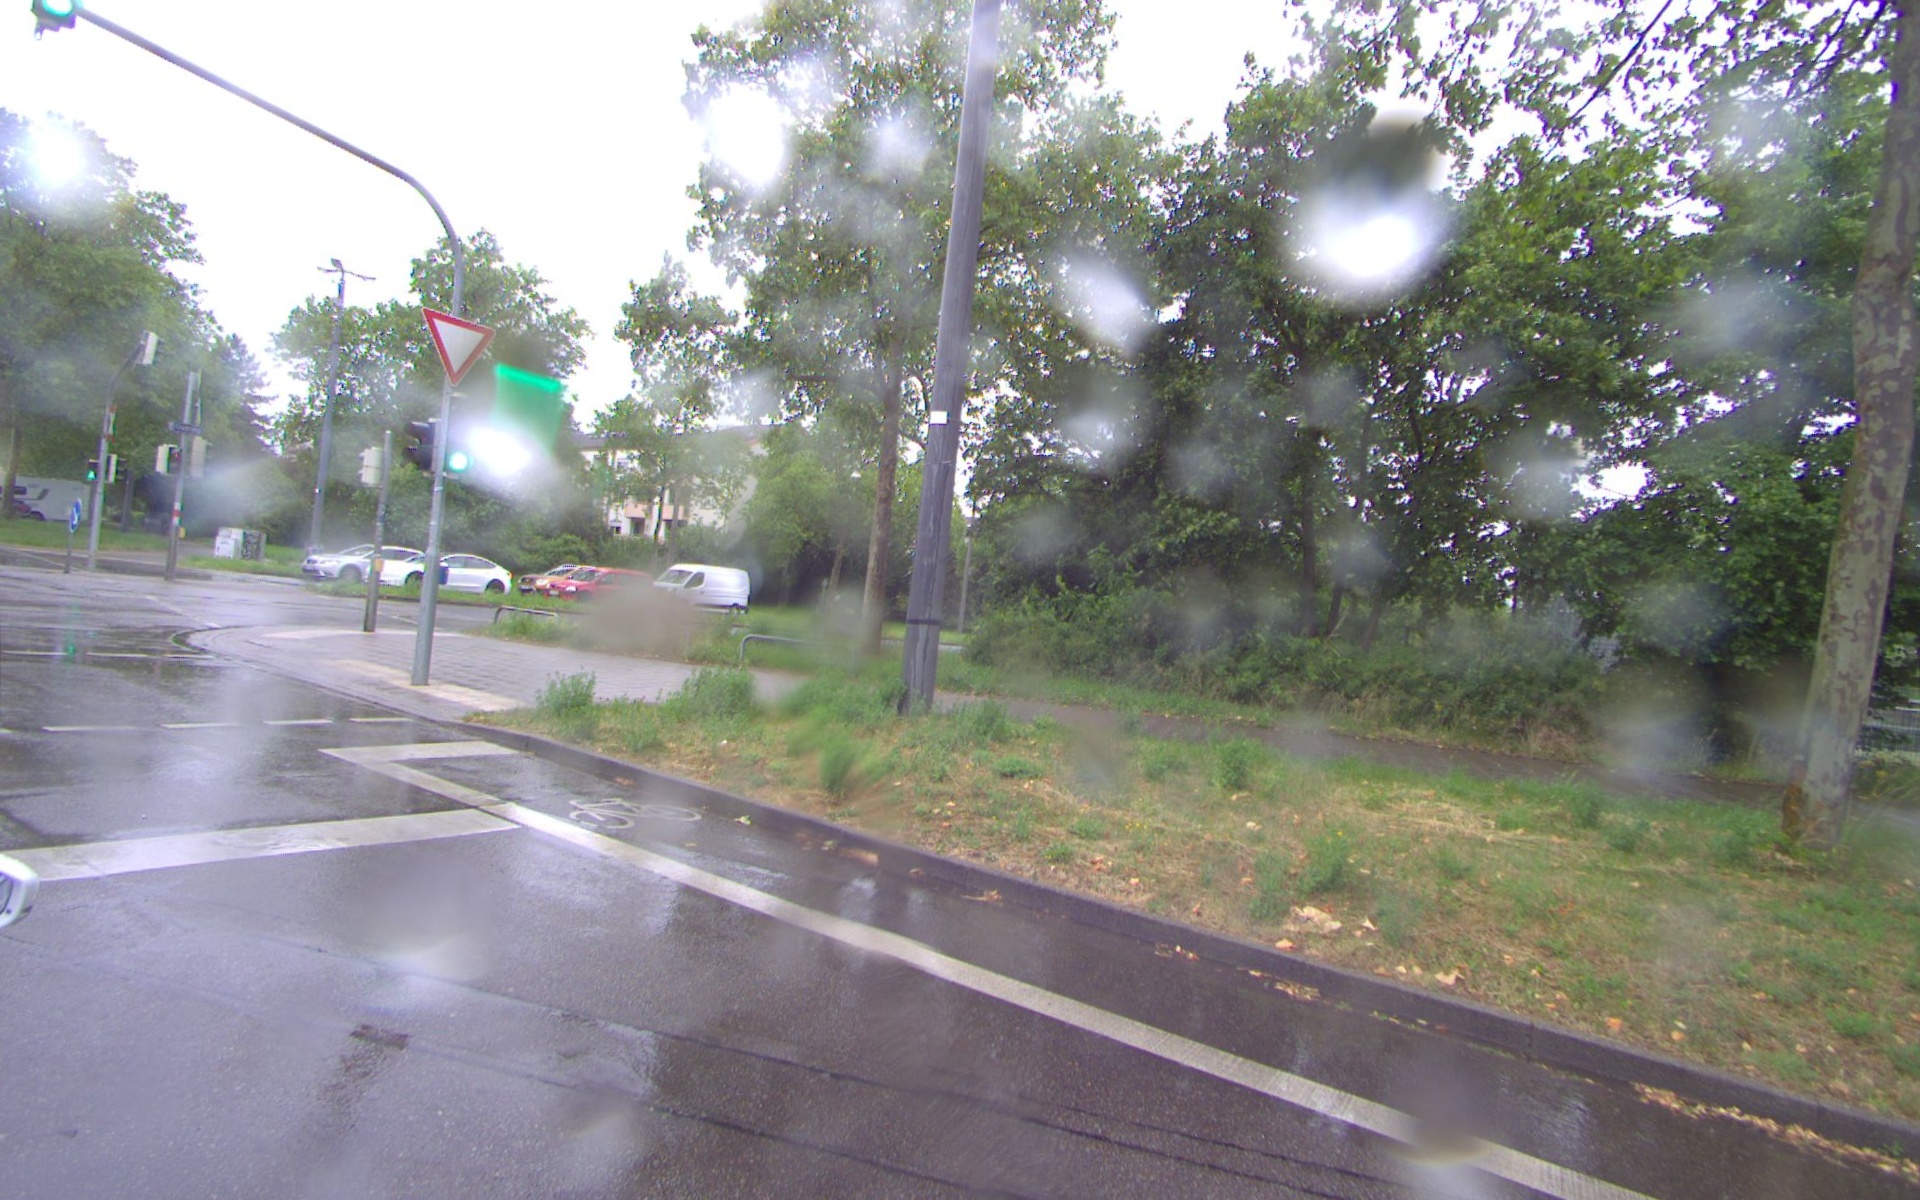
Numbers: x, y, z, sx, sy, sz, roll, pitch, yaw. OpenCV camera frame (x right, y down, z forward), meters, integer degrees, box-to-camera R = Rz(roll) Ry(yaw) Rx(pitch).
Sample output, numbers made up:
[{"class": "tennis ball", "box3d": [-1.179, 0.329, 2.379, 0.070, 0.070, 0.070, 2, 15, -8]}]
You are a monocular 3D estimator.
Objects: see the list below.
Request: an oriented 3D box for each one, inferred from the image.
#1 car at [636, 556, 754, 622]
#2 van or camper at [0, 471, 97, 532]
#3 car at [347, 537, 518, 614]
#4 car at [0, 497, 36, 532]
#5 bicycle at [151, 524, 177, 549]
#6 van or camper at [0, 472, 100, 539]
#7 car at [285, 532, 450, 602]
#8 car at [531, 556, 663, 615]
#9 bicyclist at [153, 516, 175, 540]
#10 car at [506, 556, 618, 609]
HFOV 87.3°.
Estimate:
[{"class": "car", "box3d": [-12.595, -0.470, 48.251, 1.966, 2.419, 5.619, 6, -2, 29]}, {"class": "van or camper", "box3d": [-63.202, -6.771, 67.599, 7.388, 3.215, 3.231, 9, -2, -36]}, {"class": "car", "box3d": [-17.147, -0.744, 32.984, 1.900, 1.849, 4.608, 7, -2, 26]}, {"class": "car", "box3d": [-55.724, -5.133, 57.171, 4.424, 1.736, 1.980, 9, -2, -37]}, {"class": "bicycle", "box3d": [-53.275, -4.249, 67.322, 2.667, 1.441, 0.860, 6, -2, 43]}, {"class": "van or camper", "box3d": [-56.937, -5.910, 60.756, 7.296, 3.215, 3.226, 9, -2, -40]}, {"class": "car", "box3d": [-20.117, -1.061, 34.388, 1.900, 1.710, 4.407, 7, -2, 26]}, {"class": "car", "box3d": [-13.828, -0.521, 38.630, 1.760, 1.625, 4.615, 6, -2, 29]}, {"class": "bicyclist", "box3d": [-53.428, -4.859, 67.535, 0.943, 1.441, 0.860, 6, -2, 43]}, {"class": "car", "box3d": [-16.323, -0.686, 41.471, 1.759, 1.625, 4.069, 7, -2, 26]}]
